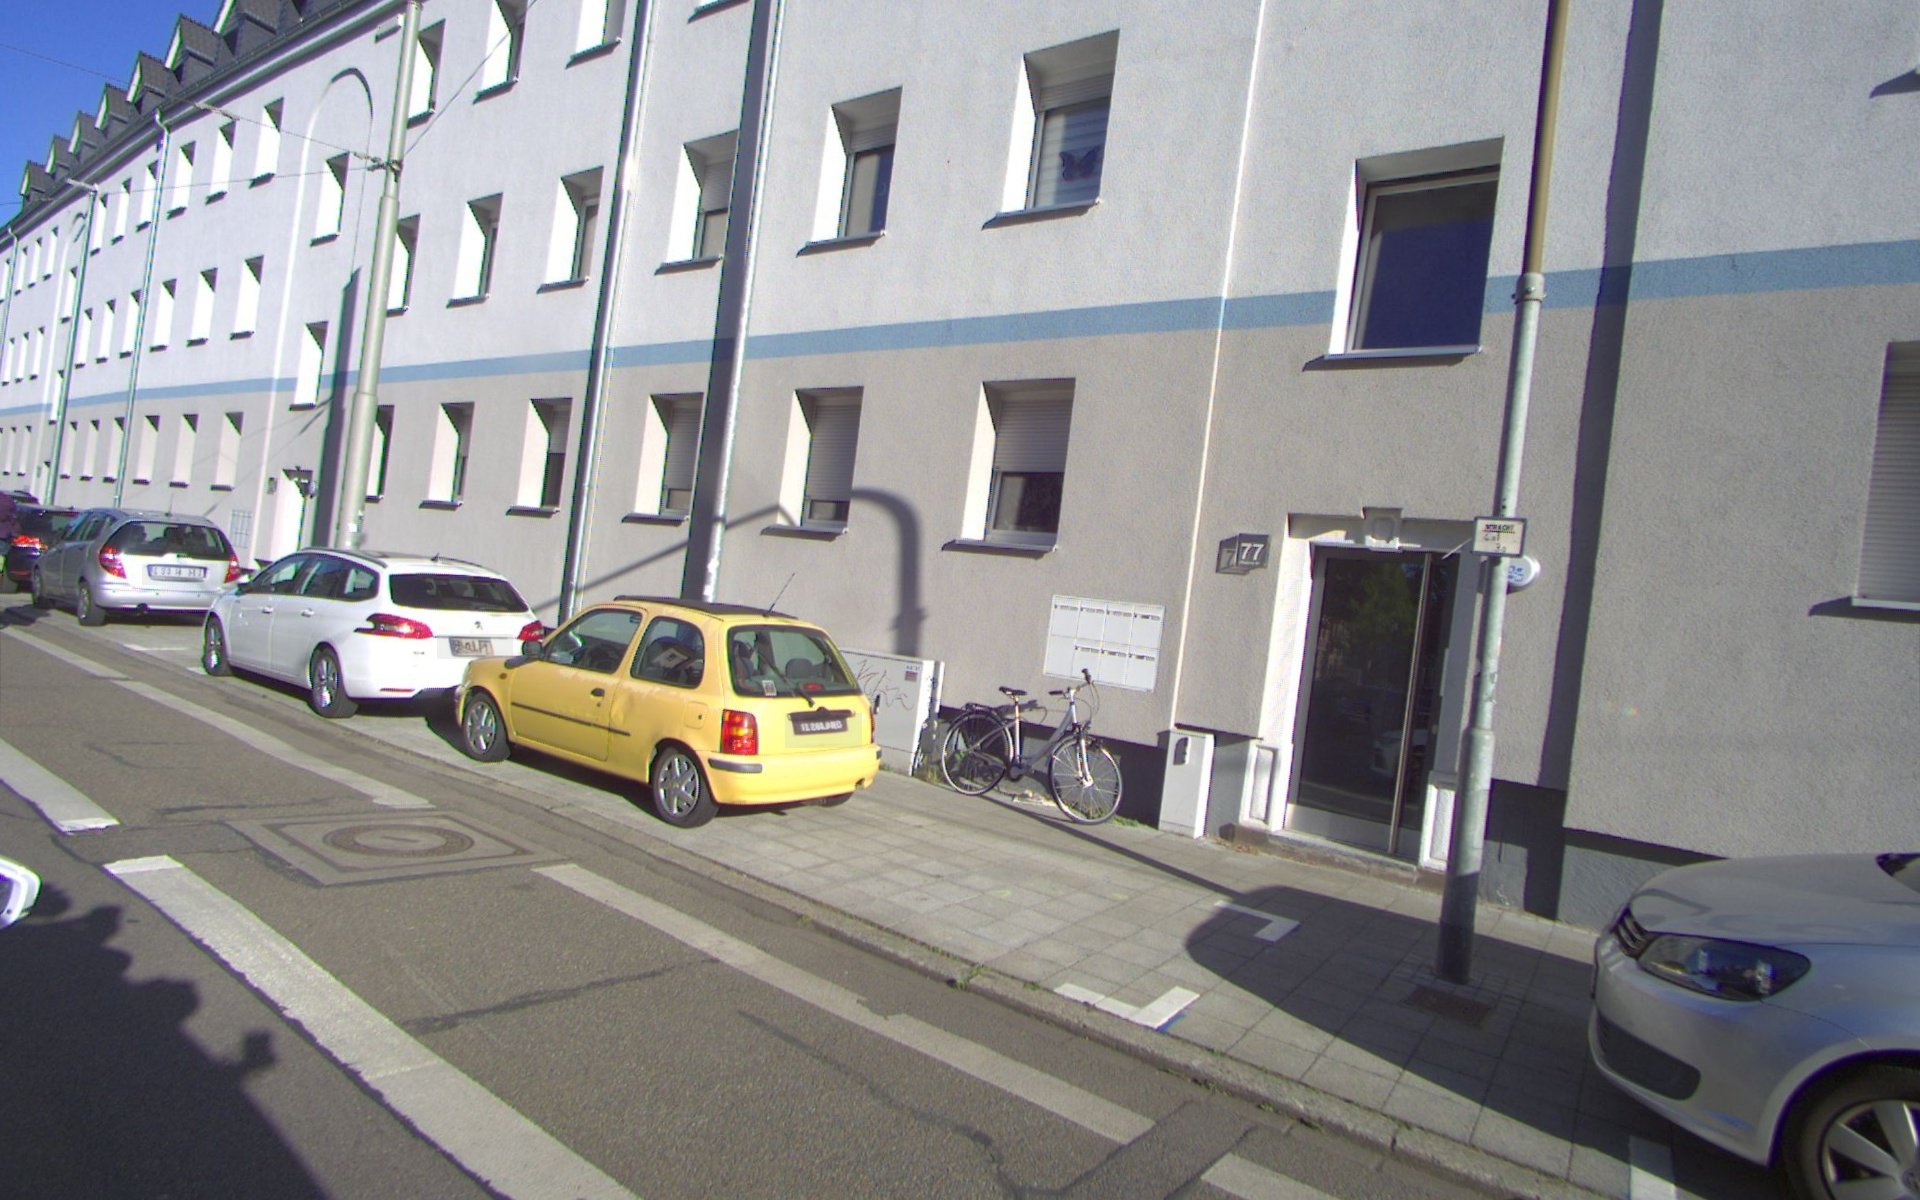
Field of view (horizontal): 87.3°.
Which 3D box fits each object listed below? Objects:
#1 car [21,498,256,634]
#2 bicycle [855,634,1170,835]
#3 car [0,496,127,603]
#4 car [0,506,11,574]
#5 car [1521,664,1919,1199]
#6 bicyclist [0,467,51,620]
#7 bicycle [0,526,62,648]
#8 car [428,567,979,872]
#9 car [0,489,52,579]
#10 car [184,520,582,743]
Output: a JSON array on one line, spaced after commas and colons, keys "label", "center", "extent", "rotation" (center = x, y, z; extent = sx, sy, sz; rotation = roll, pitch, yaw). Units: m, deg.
[{"label": "car", "center": [-12.073, -0.530, 14.714], "extent": [3.844, 1.592, 1.753], "rotation": [7, 2, 37]}, {"label": "bicycle", "center": [0.413, 1.055, 8.444], "extent": [2.290, 1.211, 1.097], "rotation": [7, -1, 34]}, {"label": "car", "center": [-16.100, -0.955, 17.479], "extent": [3.946, 1.557, 1.590], "rotation": [7, 1, 37]}, {"label": "car", "center": [-23.688, -1.609, 23.278], "extent": [3.720, 1.501, 1.797], "rotation": [7, -1, 37]}, {"label": "car", "center": [4.294, 1.331, 2.789], "extent": [4.550, 1.686, 1.756], "rotation": [7, 0, 33]}, {"label": "bicyclist", "center": [-11.273, -0.699, 11.522], "extent": [0.954, 1.696, 0.935], "rotation": [7, -1, 35]}, {"label": "bicycle", "center": [-11.368, -0.262, 11.588], "extent": [2.423, 1.249, 0.823], "rotation": [7, -4, 35]}, {"label": "car", "center": [-2.049, 0.688, 7.424], "extent": [4.135, 1.448, 1.514], "rotation": [6, -1, 35]}, {"label": "car", "center": [-20.214, -1.476, 20.578], "extent": [3.844, 1.692, 1.659], "rotation": [7, 2, 37]}, {"label": "car", "center": [-5.900, 0.214, 10.073], "extent": [4.439, 1.590, 1.680], "rotation": [7, 0, 36]}]
